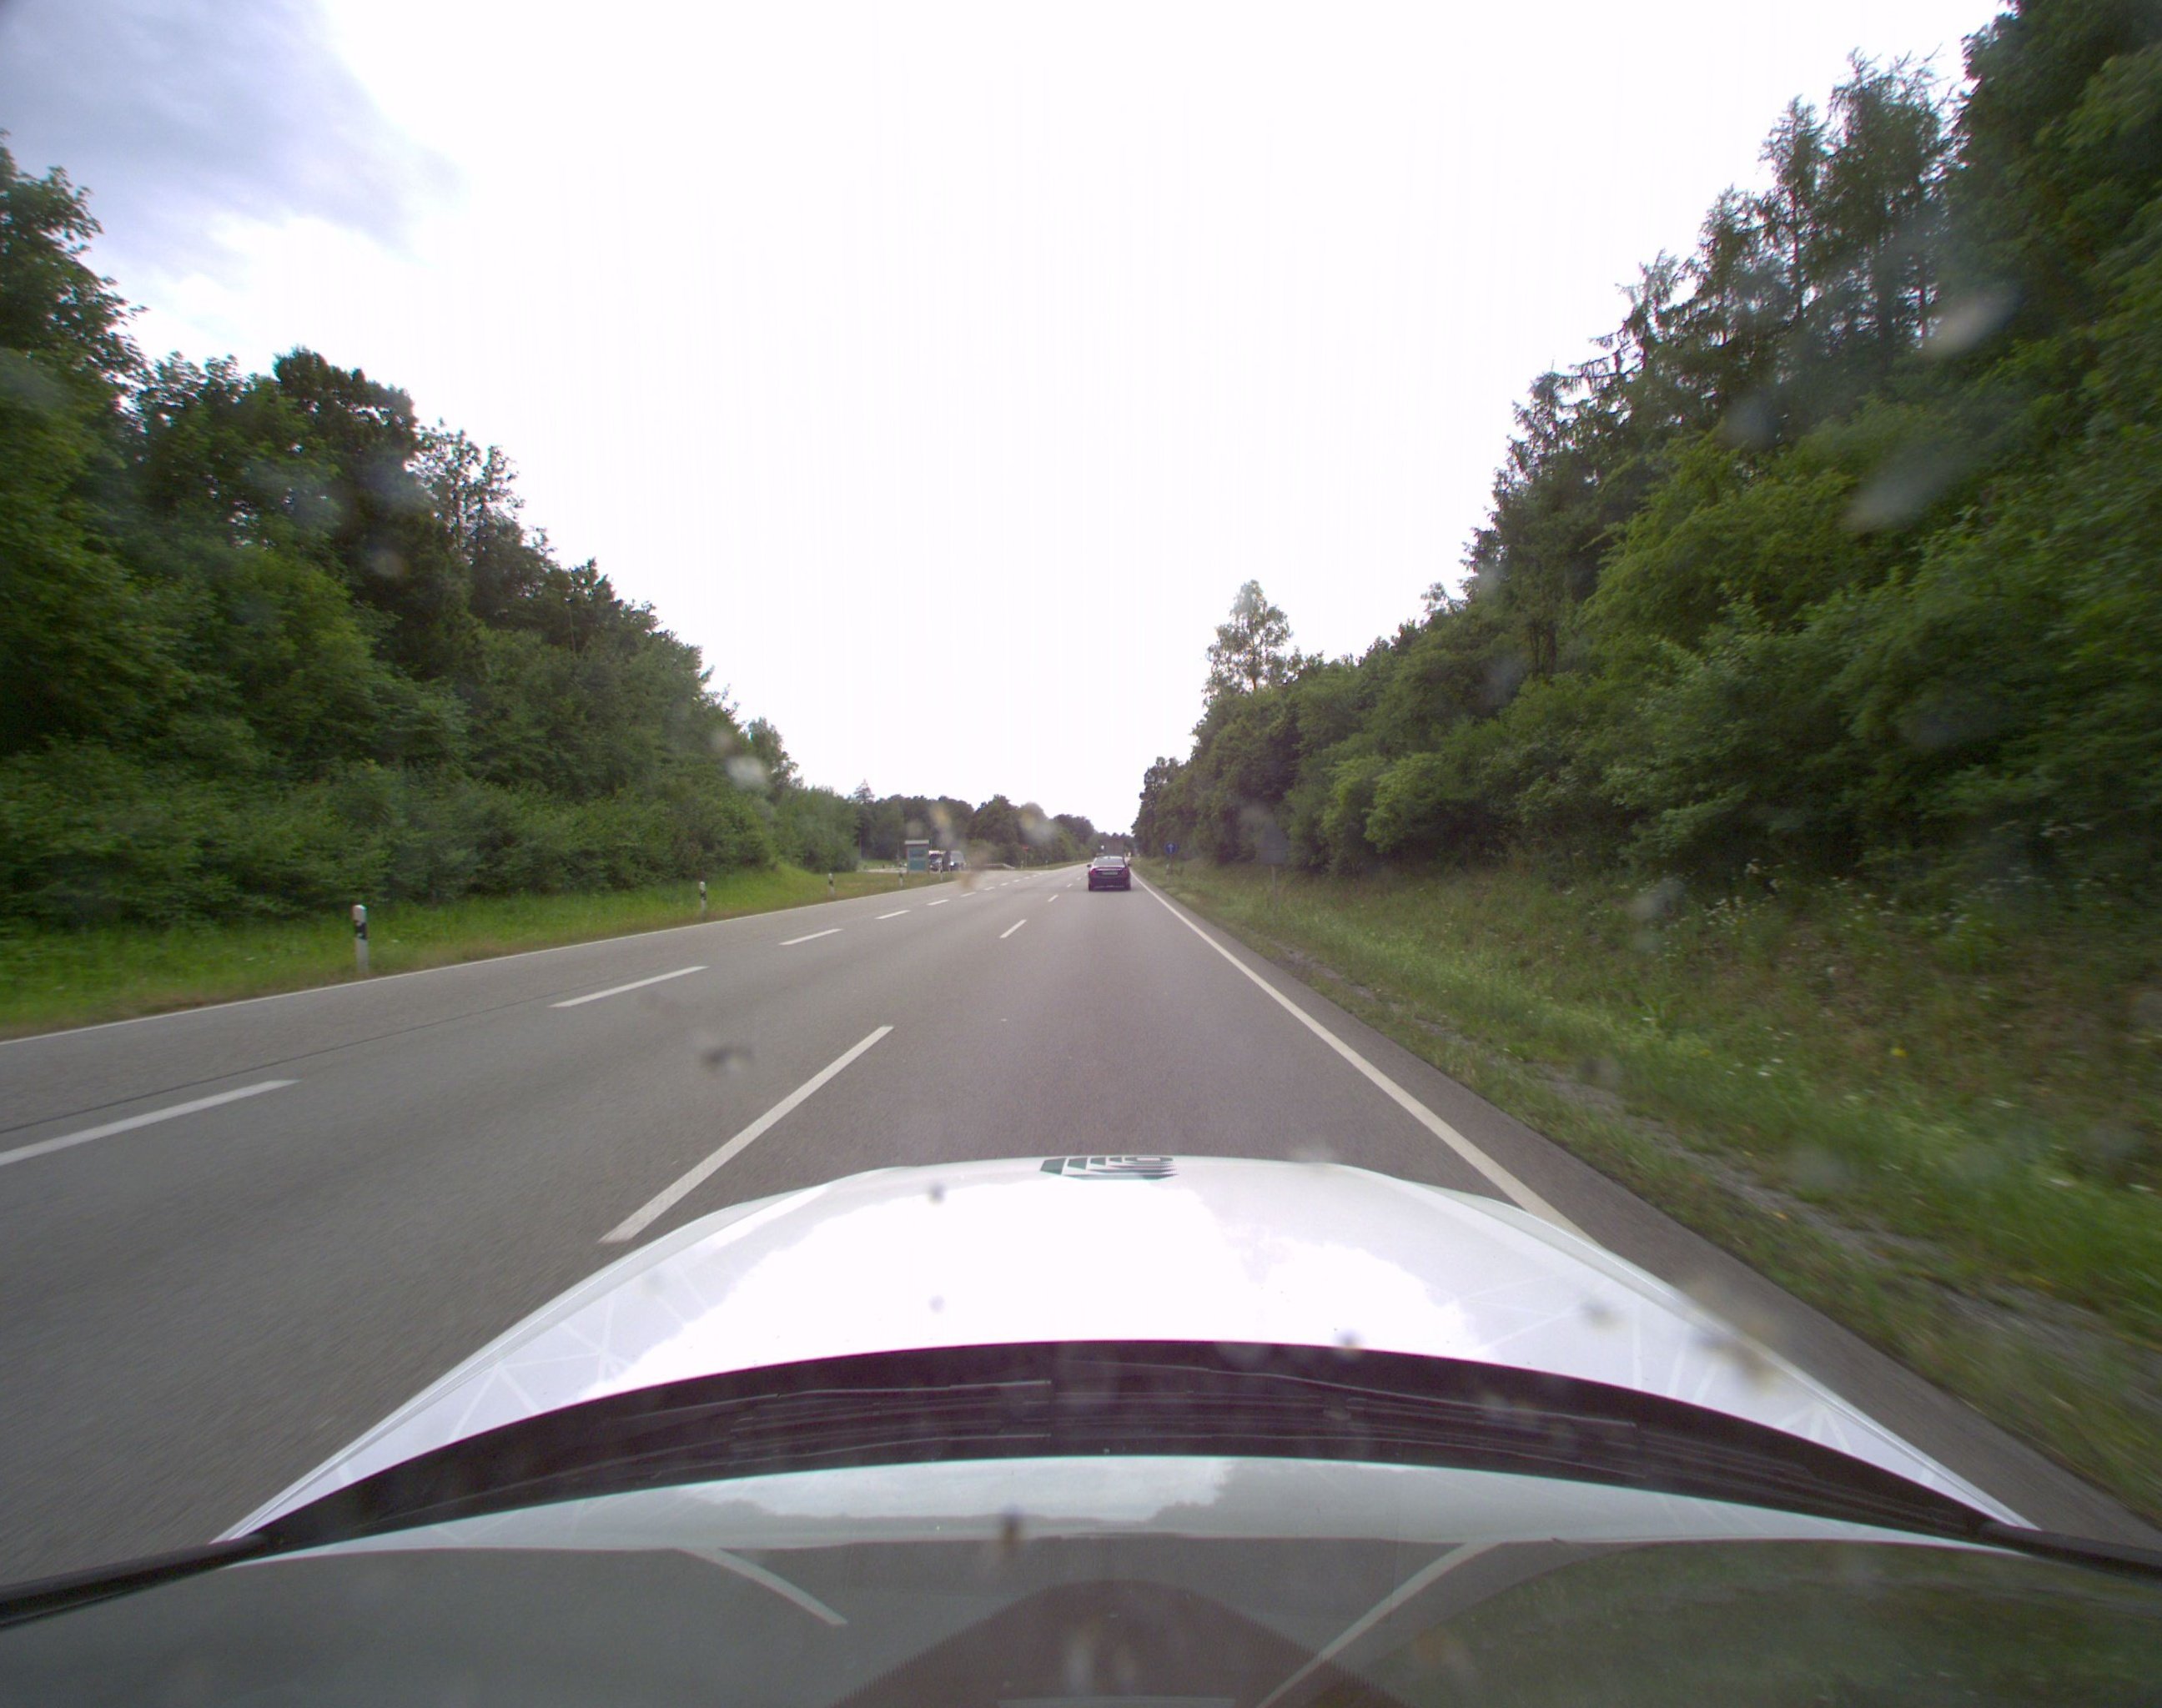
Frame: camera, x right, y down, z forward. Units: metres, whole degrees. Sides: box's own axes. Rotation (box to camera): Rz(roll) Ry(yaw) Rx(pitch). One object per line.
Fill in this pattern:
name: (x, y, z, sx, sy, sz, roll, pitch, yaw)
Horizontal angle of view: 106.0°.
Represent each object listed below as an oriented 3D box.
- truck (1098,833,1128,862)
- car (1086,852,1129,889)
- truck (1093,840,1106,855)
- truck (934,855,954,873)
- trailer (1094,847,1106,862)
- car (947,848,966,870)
truck: (4.354, -0.778, 107.266, 3.265, 3.611, 11.417, -1, 0, 6)
car: (1.177, 0.710, 36.042, 1.785, 1.552, 4.001, -1, 0, 2)
truck: (5.084, -1.804, 224.758, 3.177, 4.062, 9.582, -1, 0, 3)
truck: (-24.461, 1.742, 145.905, 1.986, 3.012, 7.231, -1, 0, 2)
trailer: (5.435, 0.239, 231.042, 3.190, 4.067, 14.281, -1, 0, 3)
car: (-15.964, 0.643, 104.324, 2.256, 2.529, 7.140, -4, 0, -9)
